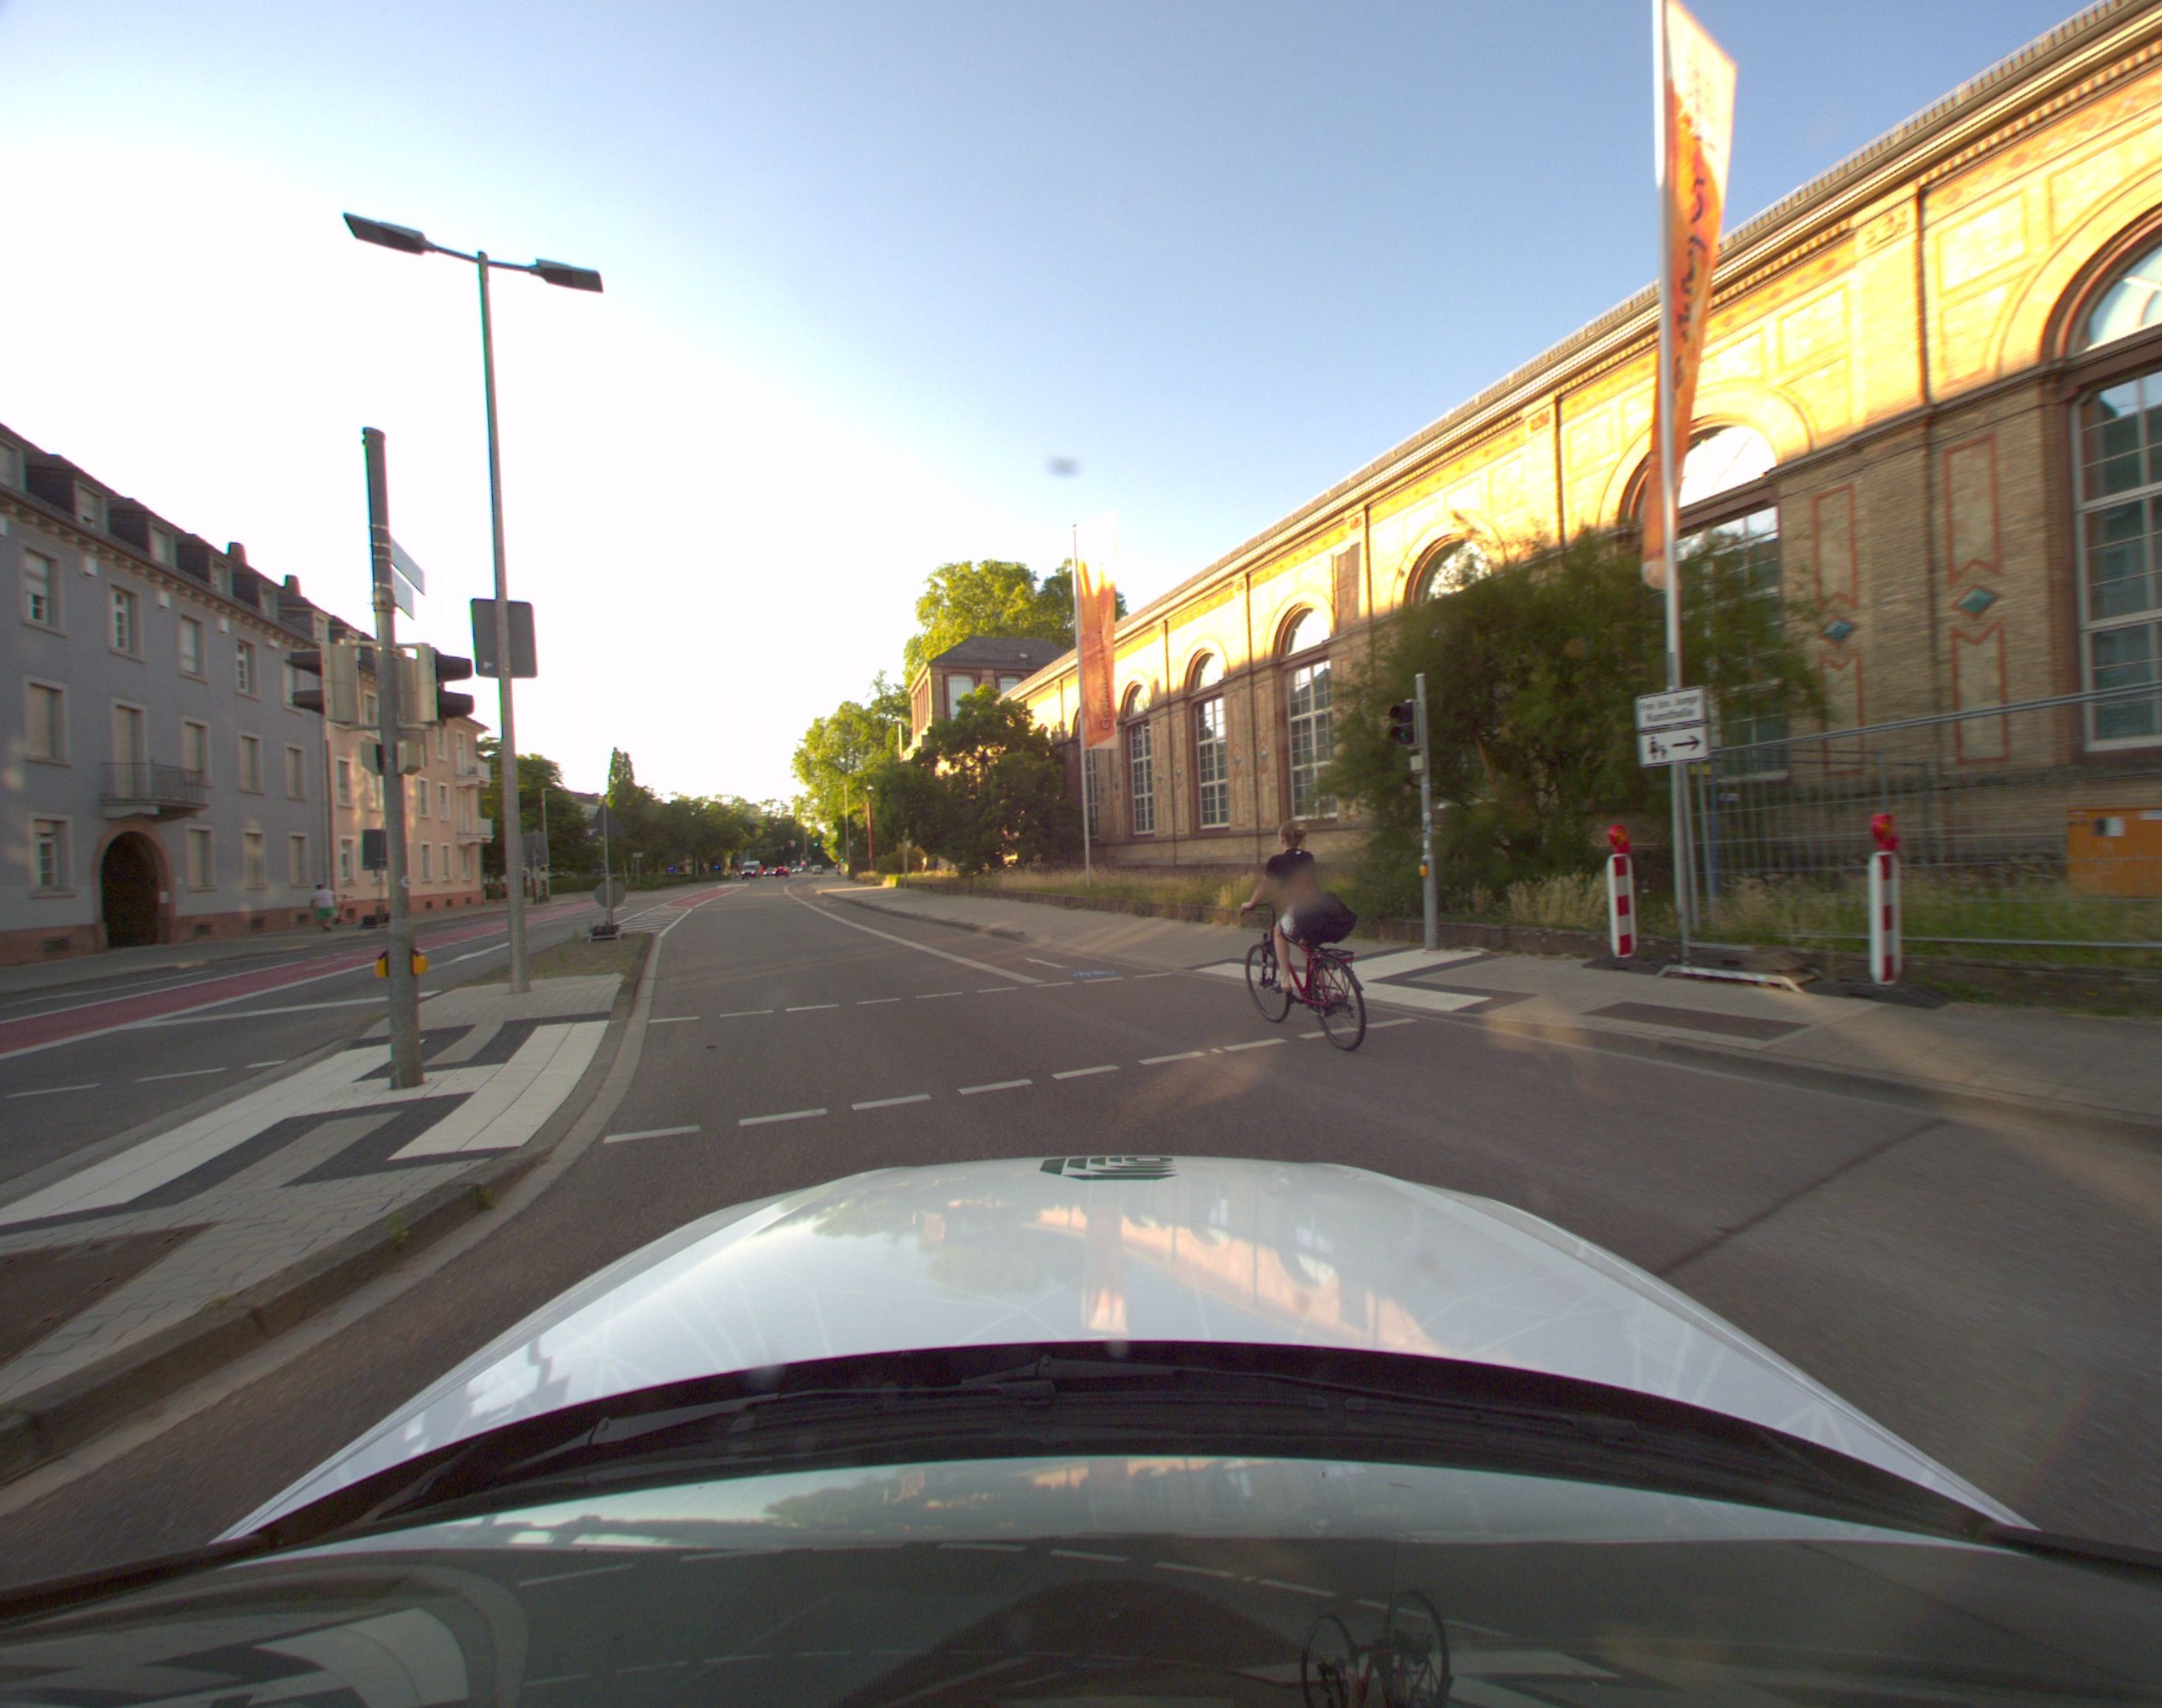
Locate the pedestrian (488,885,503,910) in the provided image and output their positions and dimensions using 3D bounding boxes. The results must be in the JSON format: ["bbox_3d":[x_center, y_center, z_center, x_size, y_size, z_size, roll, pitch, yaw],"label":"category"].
[{"bbox_3d":[-36.990,2.758,51.465,0.619,1.534,0.684,-3,0,-29],"label":"pedestrian"}]

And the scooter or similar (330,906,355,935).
[{"bbox_3d":[-30.565,2.734,33.718,0.396,1.128,0.856,-3,0,-17],"label":"scooter or similar"}]

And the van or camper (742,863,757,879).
[{"bbox_3d":[-48.660,2.539,119.614,1.836,2.194,4.390,-3,0,-21],"label":"van or camper"}]

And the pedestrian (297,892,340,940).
[{"bbox_3d":[-27.855,2.258,29.773,0.878,1.653,0.804,-3,-3,-21],"label":"pedestrian"}]

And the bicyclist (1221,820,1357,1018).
[{"bbox_3d":[1.691,0.495,6.717,0.718,1.502,0.846,-1,-1,-17],"label":"bicyclist"}]

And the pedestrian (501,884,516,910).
[{"bbox_3d":[-36.355,2.716,51.746,0.619,1.574,0.717,-3,0,-29],"label":"pedestrian"}]

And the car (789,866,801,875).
[{"bbox_3d":[-59.897,3.525,170.391,1.997,1.720,3.979,-3,0,-15],"label":"car"}]

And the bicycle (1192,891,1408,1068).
[{"bbox_3d":[1.694,0.917,6.745,0.713,1.156,2.056,-1,-1,-17],"label":"bicycle"}]

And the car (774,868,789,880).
[{"bbox_3d":[-46.518,3.113,126.477,2.000,1.720,3.974,-3,0,-19],"label":"car"}]

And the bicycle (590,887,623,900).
[{"bbox_3d":[-38.584,3.220,66.301,0.763,0.928,2.208,-3,0,30],"label":"bicycle"}]

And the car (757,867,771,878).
[{"bbox_3d":[-54.355,3.104,139.665,1.999,1.720,3.976,-3,0,-17],"label":"car"}]

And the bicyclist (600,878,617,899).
[{"bbox_3d":[-38.533,2.830,66.448,0.744,1.596,0.878,-3,0,29],"label":"bicyclist"}]

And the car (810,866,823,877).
[{"bbox_3d":[-47.614,3.136,146.660,1.998,1.720,3.978,-3,0,-16],"label":"car"}]
